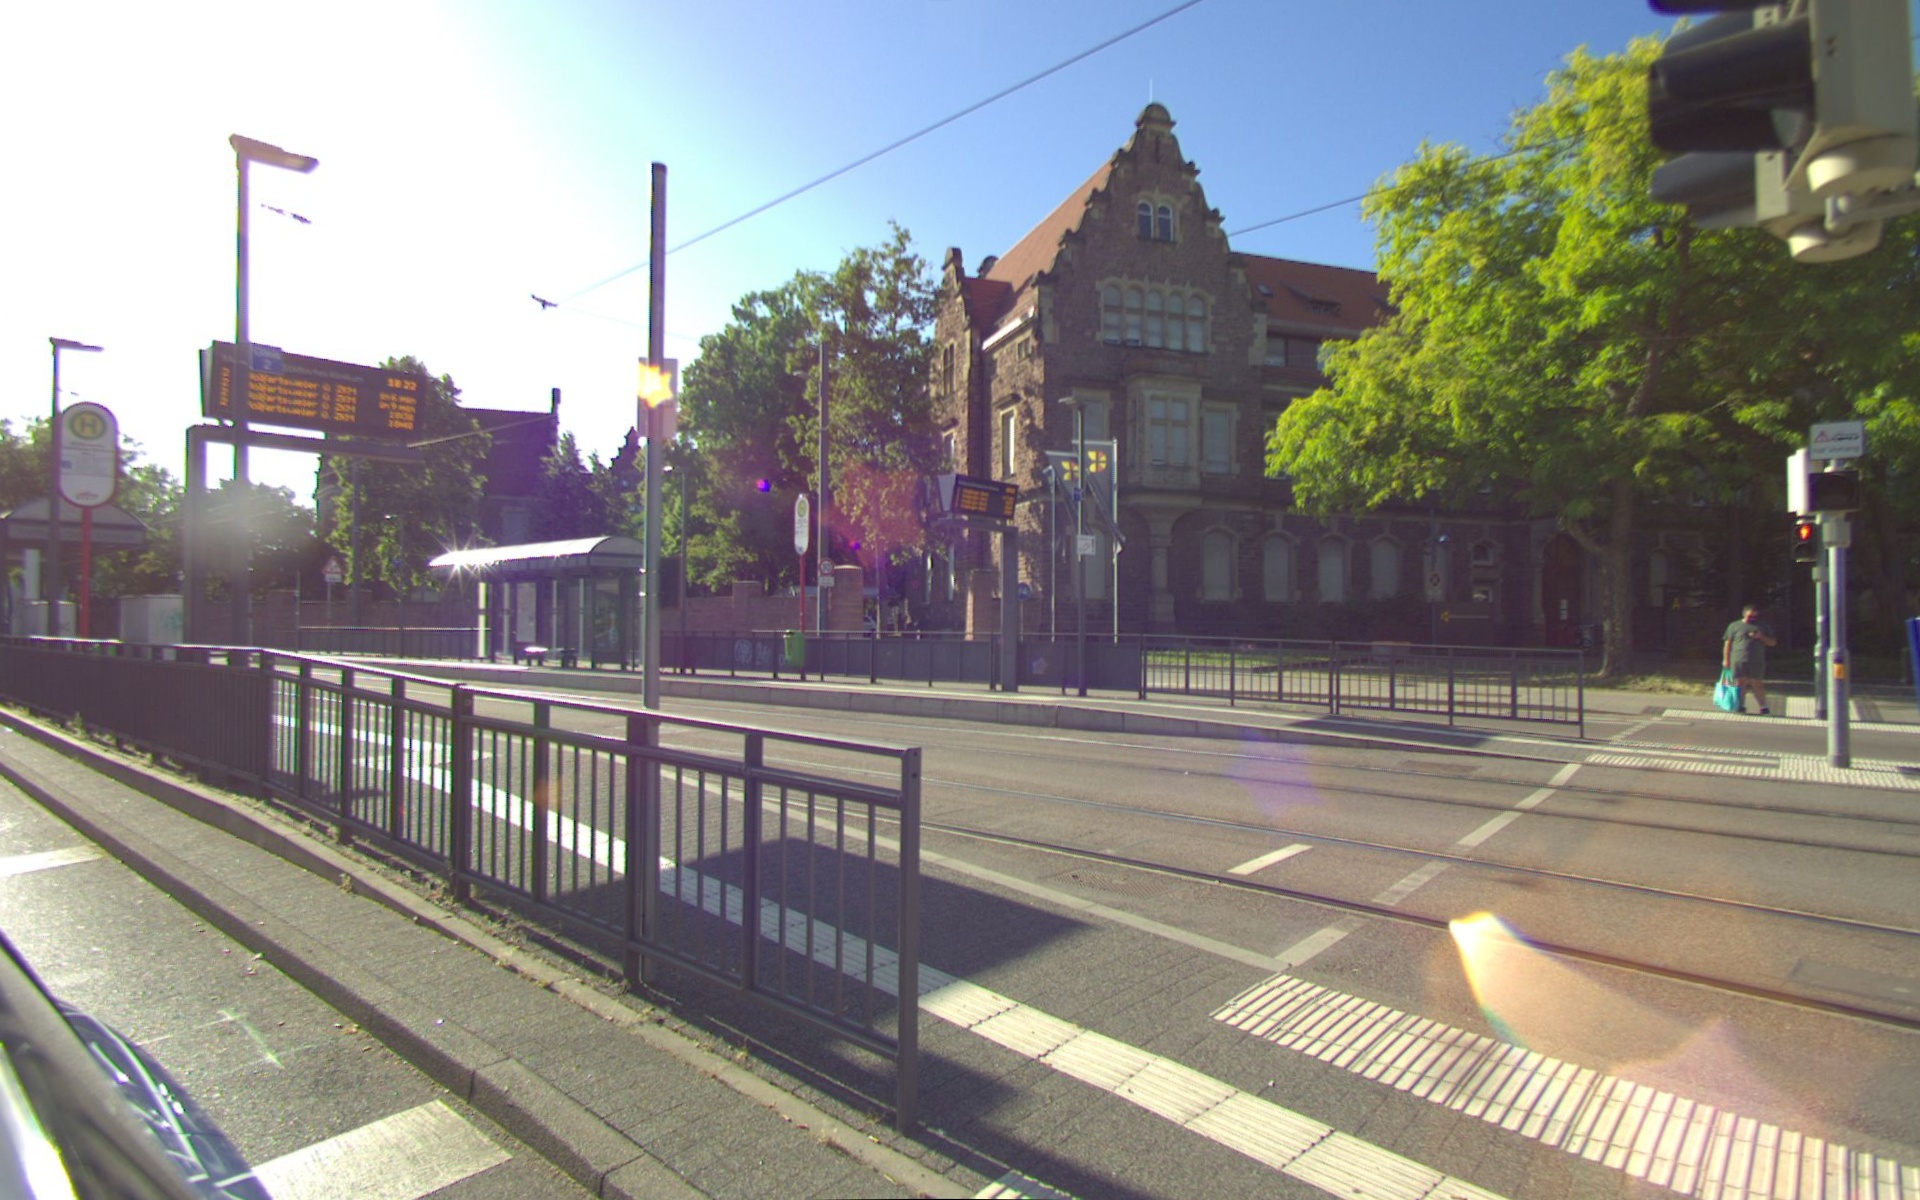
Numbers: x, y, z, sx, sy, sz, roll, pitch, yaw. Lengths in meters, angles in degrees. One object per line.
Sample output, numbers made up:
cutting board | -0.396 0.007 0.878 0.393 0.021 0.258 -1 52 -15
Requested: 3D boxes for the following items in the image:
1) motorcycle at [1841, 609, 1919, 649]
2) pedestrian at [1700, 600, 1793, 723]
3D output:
motorcycle | 43.621 1.327 47.077 3.744 1.842 1.301 -1 -1 19
pedestrian | 12.499 0.950 16.092 1.096 1.875 0.718 -1 -1 43
